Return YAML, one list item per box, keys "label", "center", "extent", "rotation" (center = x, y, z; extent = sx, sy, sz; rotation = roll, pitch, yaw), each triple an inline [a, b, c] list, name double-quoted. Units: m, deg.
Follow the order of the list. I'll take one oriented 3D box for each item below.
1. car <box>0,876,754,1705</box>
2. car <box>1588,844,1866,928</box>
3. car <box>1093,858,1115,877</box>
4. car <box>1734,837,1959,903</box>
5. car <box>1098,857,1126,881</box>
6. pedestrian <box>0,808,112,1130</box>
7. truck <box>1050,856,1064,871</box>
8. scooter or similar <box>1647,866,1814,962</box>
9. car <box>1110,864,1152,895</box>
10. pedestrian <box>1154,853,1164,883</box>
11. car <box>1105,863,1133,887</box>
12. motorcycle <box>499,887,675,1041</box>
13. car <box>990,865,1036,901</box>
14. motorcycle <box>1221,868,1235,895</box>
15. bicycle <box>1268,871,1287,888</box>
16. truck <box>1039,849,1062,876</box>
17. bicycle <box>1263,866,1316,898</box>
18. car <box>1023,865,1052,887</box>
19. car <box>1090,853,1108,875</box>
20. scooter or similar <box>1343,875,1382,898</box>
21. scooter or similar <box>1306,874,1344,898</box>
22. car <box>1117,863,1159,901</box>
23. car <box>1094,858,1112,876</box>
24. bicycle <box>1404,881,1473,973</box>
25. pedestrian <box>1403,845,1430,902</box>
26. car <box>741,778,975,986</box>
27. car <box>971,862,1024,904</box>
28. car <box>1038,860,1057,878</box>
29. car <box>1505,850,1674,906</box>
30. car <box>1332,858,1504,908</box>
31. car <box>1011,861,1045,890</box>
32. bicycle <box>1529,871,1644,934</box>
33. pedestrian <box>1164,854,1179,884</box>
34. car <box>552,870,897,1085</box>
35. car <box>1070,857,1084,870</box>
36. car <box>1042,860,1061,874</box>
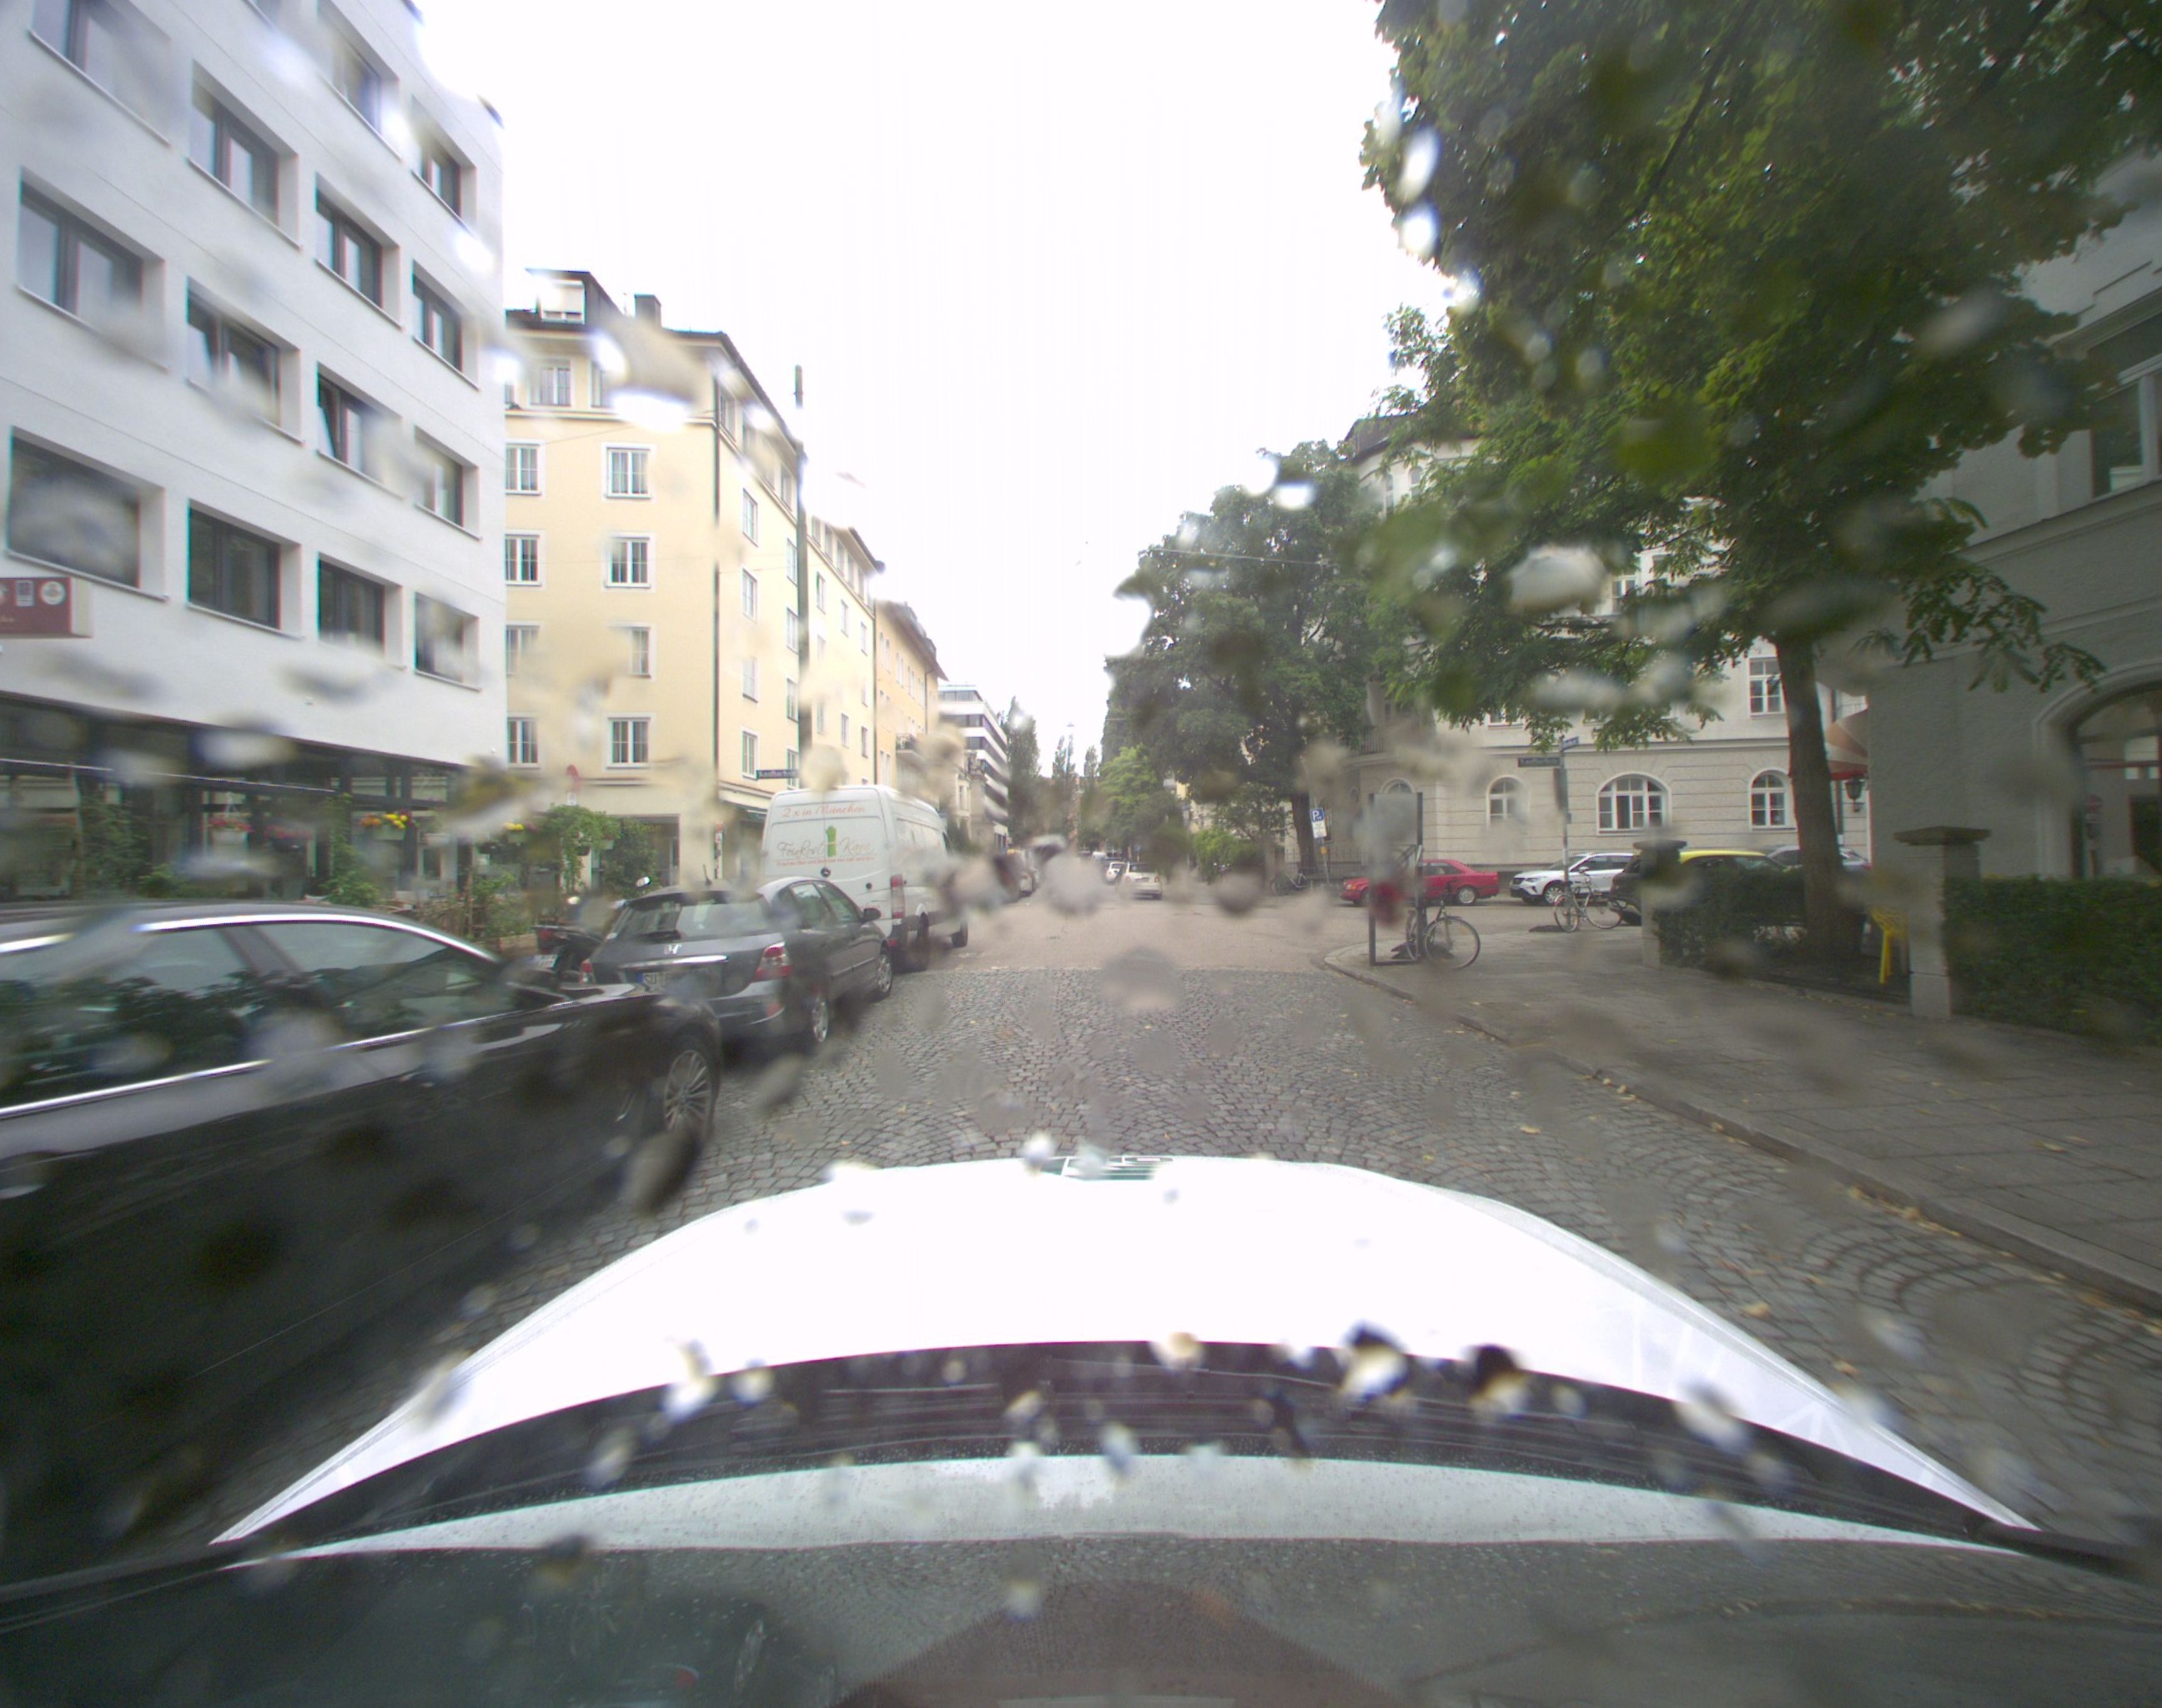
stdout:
- label: "car"
  center: [-2.868, 0.889, 2.619]
  extent: [1.720, 1.465, 4.473]
  rotation: [-3, -1, 0]
- label: "car"
  center: [13.084, 0.651, 16.783]
  extent: [4.048, 1.597, 1.911]
  rotation: [-1, -1, 11]
- label: "car"
  center: [2.202, 1.352, 79.833]
  extent: [1.957, 1.759, 4.951]
  rotation: [-1, -1, -1]
- label: "car"
  center: [21.208, 0.451, 22.740]
  extent: [4.300, 1.711, 1.757]
  rotation: [-1, -1, 11]
- label: "car"
  center: [2.223, 1.102, 59.398]
  extent: [1.869, 1.673, 5.490]
  rotation: [-1, -1, 0]
- label: "pedestrian"
  center: [-6.504, 0.662, 4.798]
  extent: [0.613, 1.840, 0.812]
  rotation: [-1, -1, -7]
- label: "truck"
  center: [-3.734, 1.459, 126.090]
  extent: [1.987, 2.347, 4.066]
  rotation: [-1, -1, -1]
- label: "scooter or similar"
  center: [8.328, 0.768, 10.509]
  extent: [1.588, 1.172, 0.407]
  rotation: [-2, -2, 23]
- label: "car"
  center: [2.420, 1.237, 40.671]
  extent: [1.643, 1.422, 4.629]
  rotation: [2, -1, -1]
- label: "pedestrian"
  center: [4.831, 0.839, 50.734]
  extent: [0.572, 1.850, 0.683]
  rotation: [-1, -1, 7]
- label: "car"
  center: [2.508, 1.379, 54.389]
  extent: [1.625, 1.469, 3.657]
  rotation: [1, -1, -1]
- label: "motorcycle"
  center: [-5.093, 1.057, 8.587]
  extent: [0.672, 1.369, 2.057]
  rotation: [-1, -1, -2]
- label: "car"
  center: [-3.146, 1.333, 38.594]
  extent: [1.768, 1.536, 4.539]
  rotation: [-3, -1, -1]
- label: "motorcycle"
  center: [6.214, 1.146, 34.412]
  extent: [0.361, 1.090, 1.404]
  rotation: [-1, -1, 2]
- label: "bicycle"
  center: [9.476, 1.227, 39.372]
  extent: [0.489, 0.812, 2.276]
  rotation: [-1, -1, 4]
- label: "truck"
  center: [-3.604, 1.002, 96.981]
  extent: [2.501, 3.031, 6.380]
  rotation: [-3, 0, -2]
- label: "bicycle"
  center: [7.681, 1.034, 30.013]
  extent: [1.827, 1.124, 0.564]
  rotation: [-1, -1, 9]
- label: "car"
  center: [-2.966, 1.511, 56.321]
  extent: [1.768, 1.429, 4.389]
  rotation: [-1, -1, 0]
- label: "car"
  center: [2.169, 1.187, 98.542]
  extent: [1.889, 2.426, 5.608]
  rotation: [3, 0, -1]
- label: "scooter or similar"
  center: [10.062, 1.162, 29.138]
  extent: [1.230, 0.826, 0.698]
  rotation: [-1, -1, 9]
- label: "scooter or similar"
  center: [8.696, 1.133, 29.049]
  extent: [1.176, 0.848, 0.926]
  rotation: [-1, -1, 9]
- label: "car"
  center: [2.320, 1.127, 33.633]
  extent: [1.497, 1.471, 3.795]
  rotation: [-1, -1, 1]
- label: "car"
  center: [2.456, 1.468, 93.038]
  extent: [1.795, 1.950, 4.857]
  rotation: [2, -1, -1]
- label: "bicycle"
  center: [4.893, 0.960, 11.218]
  extent: [0.386, 1.147, 1.592]
  rotation: [-1, -1, 7]
- label: "pedestrian"
  center: [11.194, 0.647, 27.179]
  extent: [0.493, 1.876, 0.741]
  rotation: [-1, -1, -5]
- label: "car"
  center: [-3.245, 0.404, 13.340]
  extent: [1.970, 2.574, 5.795]
  rotation: [-3, -1, 1]
- label: "car"
  center: [-3.387, 1.165, 33.791]
  extent: [1.847, 1.586, 4.744]
  rotation: [-1, -1, -2]
- label: "car"
  center: [-3.253, 1.458, 80.581]
  extent: [1.769, 1.718, 4.388]
  rotation: [-1, -1, -1]
- label: "car"
  center: [14.601, 0.683, 23.536]
  extent: [3.868, 1.521, 1.568]
  rotation: [-1, -1, 4]
- label: "car"
  center: [10.013, 0.864, 24.478]
  extent: [4.443, 1.358, 1.764]
  rotation: [-1, -1, 7]
- label: "car"
  center: [-3.208, 1.295, 49.978]
  extent: [1.768, 1.647, 4.390]
  rotation: [-1, -1, 0]
- label: "bicycle"
  center: [9.419, 0.915, 15.229]
  extent: [1.595, 1.069, 0.739]
  rotation: [-3, -4, 2]
- label: "pedestrian"
  center: [5.668, 0.940, 50.987]
  extent: [0.632, 1.808, 0.653]
  rotation: [0, -2, -34]
- label: "car"
  center: [-2.966, 0.902, 7.757]
  extent: [1.657, 1.482, 3.978]
  rotation: [-1, -1, -2]
- label: "car"
  center: [-0.582, 1.398, 120.183]
  extent: [1.989, 1.936, 4.000]
  rotation: [-1, -1, 1]
- label: "car"
  center: [-3.051, 1.403, 85.856]
  extent: [1.934, 1.459, 4.055]
  rotation: [-1, -1, -2]
